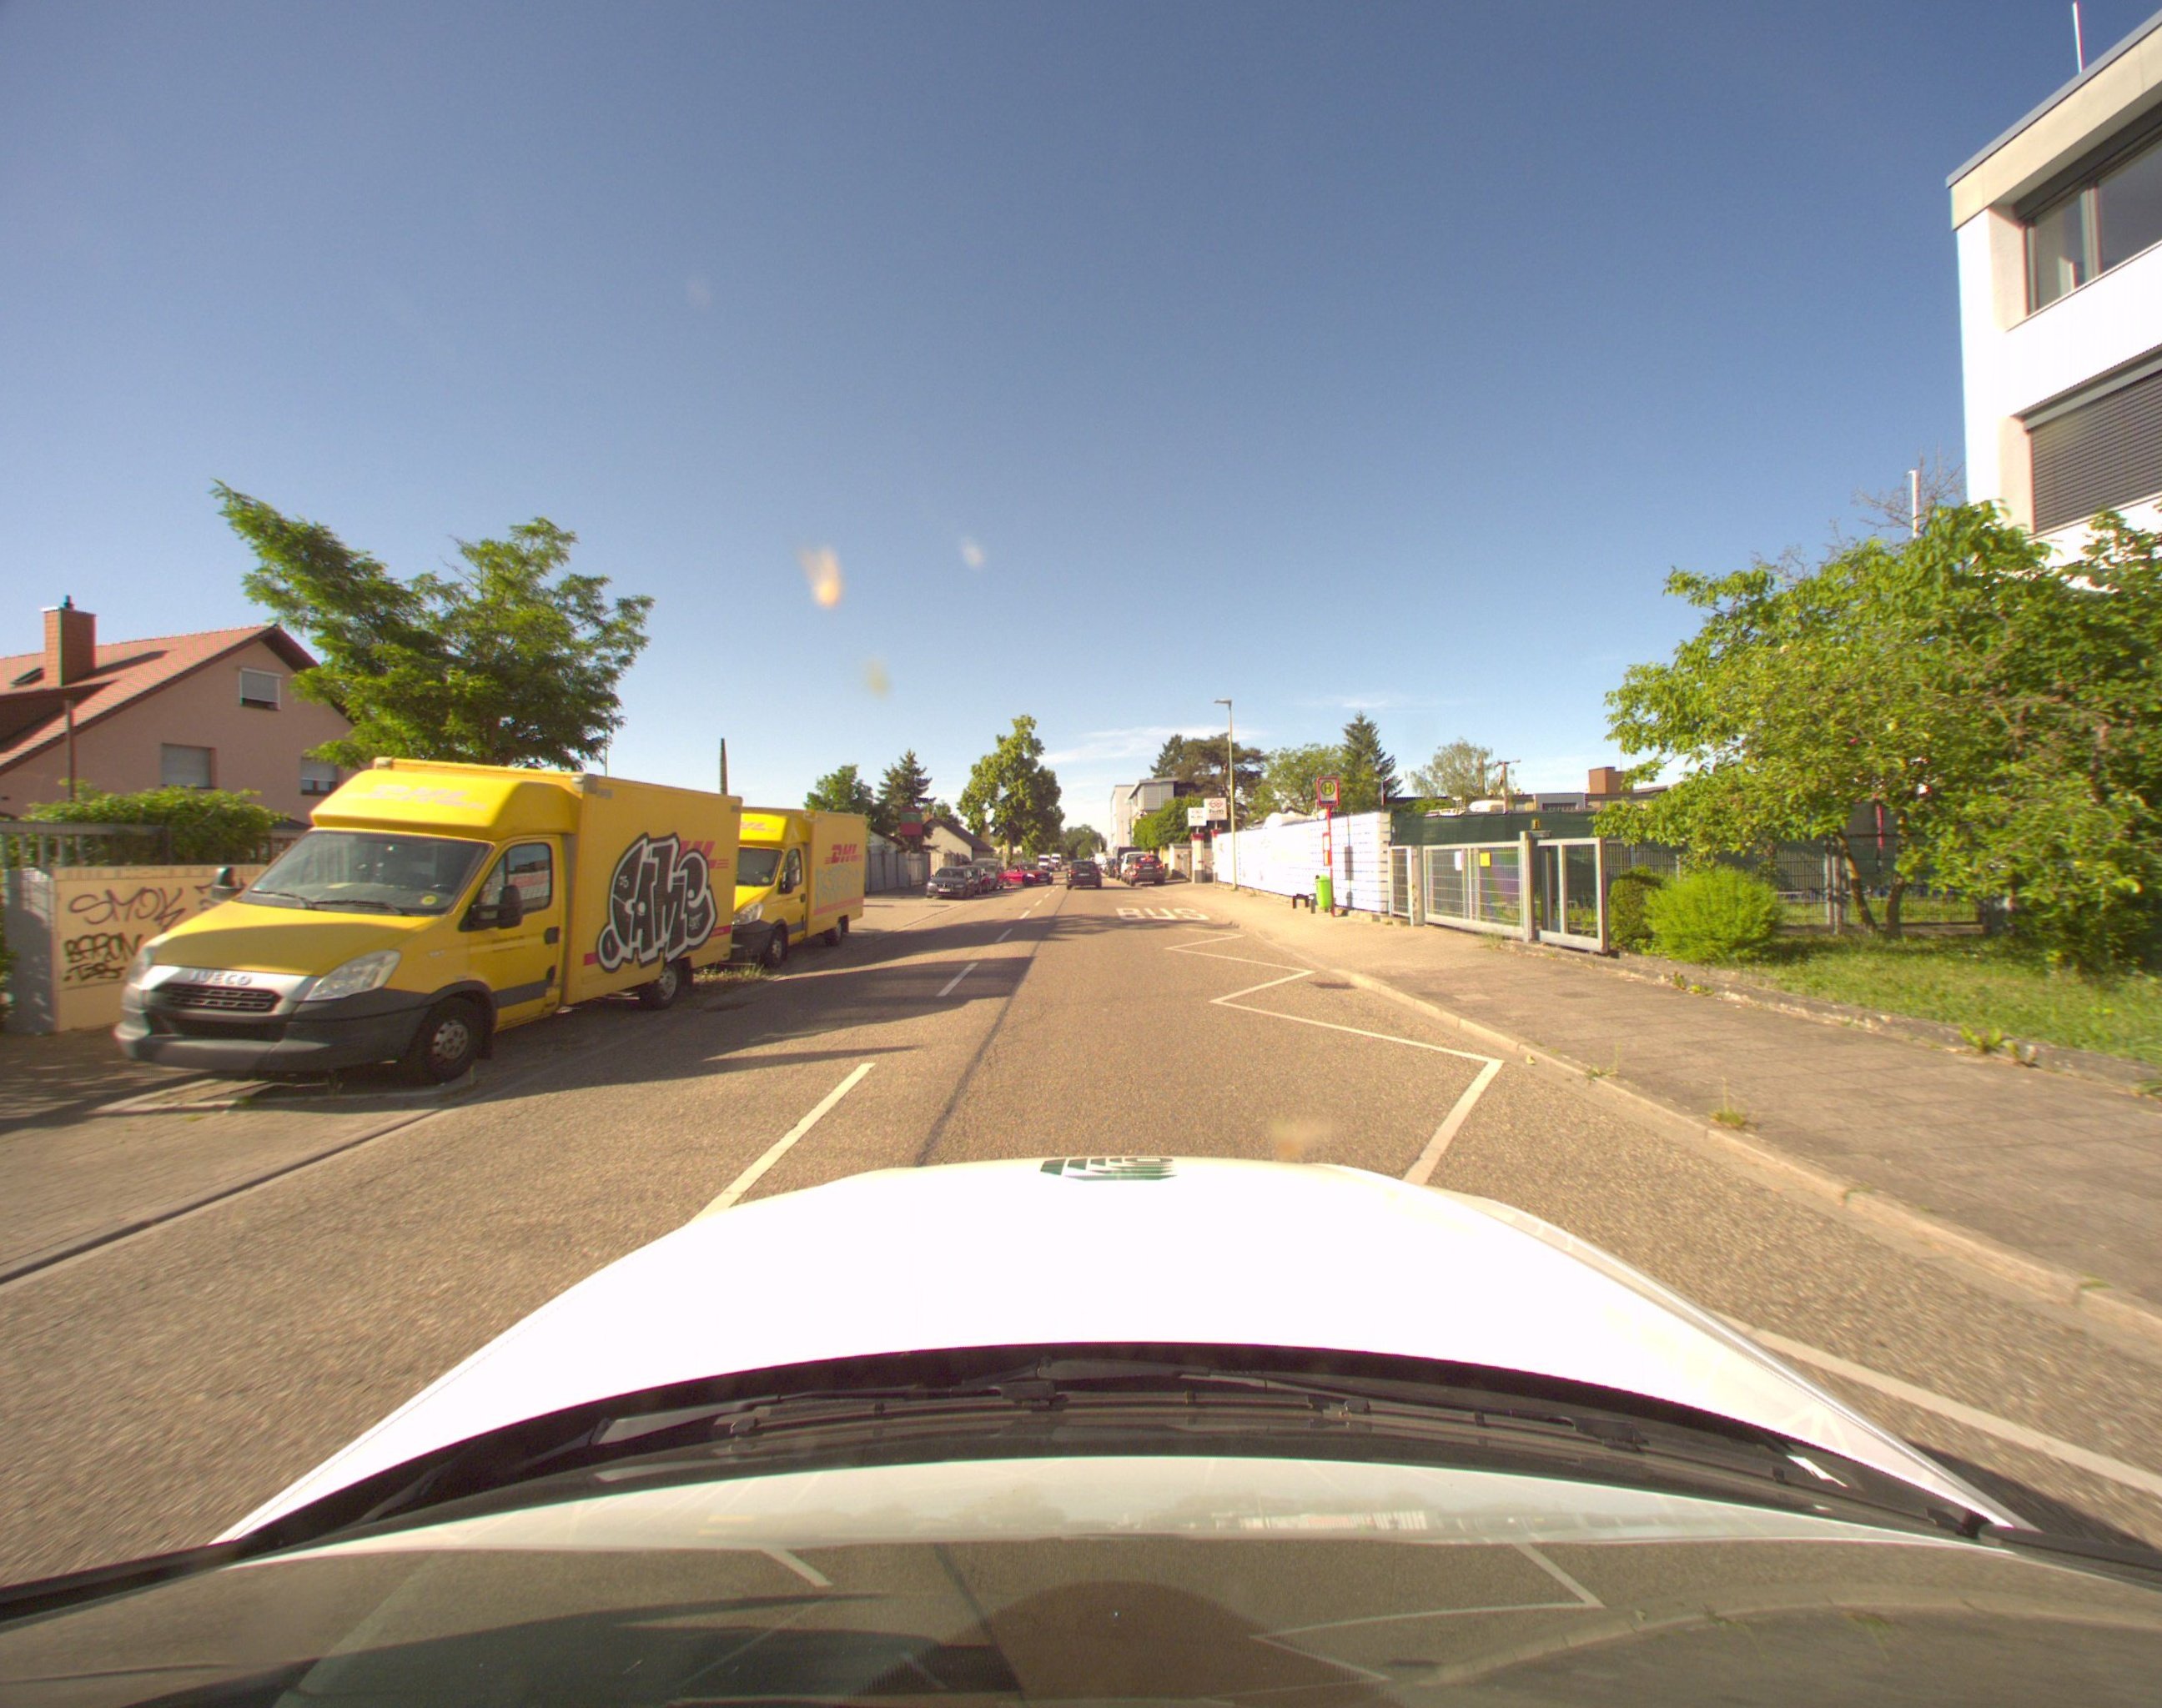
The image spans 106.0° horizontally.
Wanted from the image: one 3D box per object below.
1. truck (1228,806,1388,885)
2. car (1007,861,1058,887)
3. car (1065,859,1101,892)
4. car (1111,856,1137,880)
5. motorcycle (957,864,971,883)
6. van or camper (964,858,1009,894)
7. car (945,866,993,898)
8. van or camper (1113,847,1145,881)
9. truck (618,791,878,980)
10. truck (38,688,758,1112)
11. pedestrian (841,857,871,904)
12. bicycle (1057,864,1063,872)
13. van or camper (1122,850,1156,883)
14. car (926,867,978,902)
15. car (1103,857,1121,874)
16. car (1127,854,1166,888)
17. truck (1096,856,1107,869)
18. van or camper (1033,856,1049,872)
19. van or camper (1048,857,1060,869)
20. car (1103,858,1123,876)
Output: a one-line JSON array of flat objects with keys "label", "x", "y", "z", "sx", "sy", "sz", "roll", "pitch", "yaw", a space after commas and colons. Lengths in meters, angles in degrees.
[{"label": "truck", "x": 11.580, "y": -0.438, "z": 41.884, "sx": 7.359, "sy": 3.771, "sz": 2.829, "roll": -1, "pitch": -1, "yaw": -4}, {"label": "car", "x": -3.102, "y": 1.238, "z": 50.922, "sx": 1.884, "sy": 1.485, "sz": 4.012, "roll": -3, "pitch": 0, "yaw": -23}, {"label": "car", "x": 0.135, "y": 1.045, "z": 41.525, "sx": 1.705, "sy": 1.532, "sz": 3.688, "roll": -2, "pitch": 0, "yaw": 1}, {"label": "car", "x": 3.451, "y": 1.119, "z": 65.511, "sx": 1.912, "sy": 1.825, "sz": 4.080, "roll": -1, "pitch": 0, "yaw": 1}, {"label": "motorcycle", "x": -9.152, "y": 1.490, "z": 63.916, "sx": 0.774, "sy": 1.445, "sz": 2.038, "roll": -2, "pitch": -1, "yaw": 1}, {"label": "van or camper", "x": -5.437, "y": 1.236, "z": 47.380, "sx": 1.884, "sy": 1.926, "sz": 4.267, "roll": -2, "pitch": -1, "yaw": 1}, {"label": "car", "x": -5.791, "y": 1.428, "z": 42.460, "sx": 1.687, "sy": 1.469, "sz": 4.176, "roll": -2, "pitch": 0, "yaw": 3}, {"label": "van or camper", "x": 3.382, "y": 0.727, "z": 58.055, "sx": 1.987, "sy": 2.310, "sz": 4.000, "roll": -1, "pitch": -1, "yaw": 1}, {"label": "truck", "x": -5.942, "y": 0.498, "z": 15.779, "sx": 2.184, "sy": 2.902, "sz": 6.440, "roll": 1, "pitch": 0, "yaw": 2}, {"label": "truck", "x": -6.074, "y": 0.346, "z": 8.931, "sx": 2.394, "sy": 2.983, "sz": 6.374, "roll": 0, "pitch": -1, "yaw": 1}, {"label": "pedestrian", "x": -9.066, "y": 1.064, "z": 32.868, "sx": 0.996, "sy": 1.838, "sz": 0.918, "roll": -1, "pitch": -1, "yaw": -9}, {"label": "bicycle", "x": -2.996, "y": 2.067, "z": 118.134, "sx": 0.826, "sy": 1.153, "sz": 2.939, "roll": -2, "pitch": 0, "yaw": -1}, {"label": "van or camper", "x": 3.732, "y": 0.808, "z": 53.113, "sx": 1.912, "sy": 2.019, "sz": 4.080, "roll": -1, "pitch": -1, "yaw": 1}, {"label": "car", "x": -5.872, "y": 1.368, "z": 37.545, "sx": 1.752, "sy": 1.403, "sz": 4.555, "roll": -2, "pitch": 0, "yaw": -1}, {"label": "car", "x": 3.481, "y": 1.294, "z": 91.960, "sx": 1.912, "sy": 1.825, "sz": 4.080, "roll": -1, "pitch": 0, "yaw": 1}, {"label": "car", "x": 3.703, "y": 0.940, "z": 46.384, "sx": 1.912, "sy": 1.825, "sz": 4.080, "roll": -1, "pitch": 0, "yaw": 1}, {"label": "truck", "x": 3.760, "y": 1.587, "z": 152.239, "sx": 1.987, "sy": 2.288, "sz": 6.955, "roll": -1, "pitch": 0, "yaw": 1}, {"label": "van or camper", "x": -5.889, "y": 1.462, "z": 119.596, "sx": 2.318, "sy": 2.362, "sz": 6.520, "roll": -1, "pitch": 0, "yaw": -3}, {"label": "van or camper", "x": -5.573, "y": 1.944, "z": 169.229, "sx": 2.318, "sy": 2.362, "sz": 6.520, "roll": -1, "pitch": 0, "yaw": -3}, {"label": "car", "x": 3.371, "y": 1.356, "z": 85.819, "sx": 1.912, "sy": 1.825, "sz": 4.080, "roll": -1, "pitch": 0, "yaw": 1}]
